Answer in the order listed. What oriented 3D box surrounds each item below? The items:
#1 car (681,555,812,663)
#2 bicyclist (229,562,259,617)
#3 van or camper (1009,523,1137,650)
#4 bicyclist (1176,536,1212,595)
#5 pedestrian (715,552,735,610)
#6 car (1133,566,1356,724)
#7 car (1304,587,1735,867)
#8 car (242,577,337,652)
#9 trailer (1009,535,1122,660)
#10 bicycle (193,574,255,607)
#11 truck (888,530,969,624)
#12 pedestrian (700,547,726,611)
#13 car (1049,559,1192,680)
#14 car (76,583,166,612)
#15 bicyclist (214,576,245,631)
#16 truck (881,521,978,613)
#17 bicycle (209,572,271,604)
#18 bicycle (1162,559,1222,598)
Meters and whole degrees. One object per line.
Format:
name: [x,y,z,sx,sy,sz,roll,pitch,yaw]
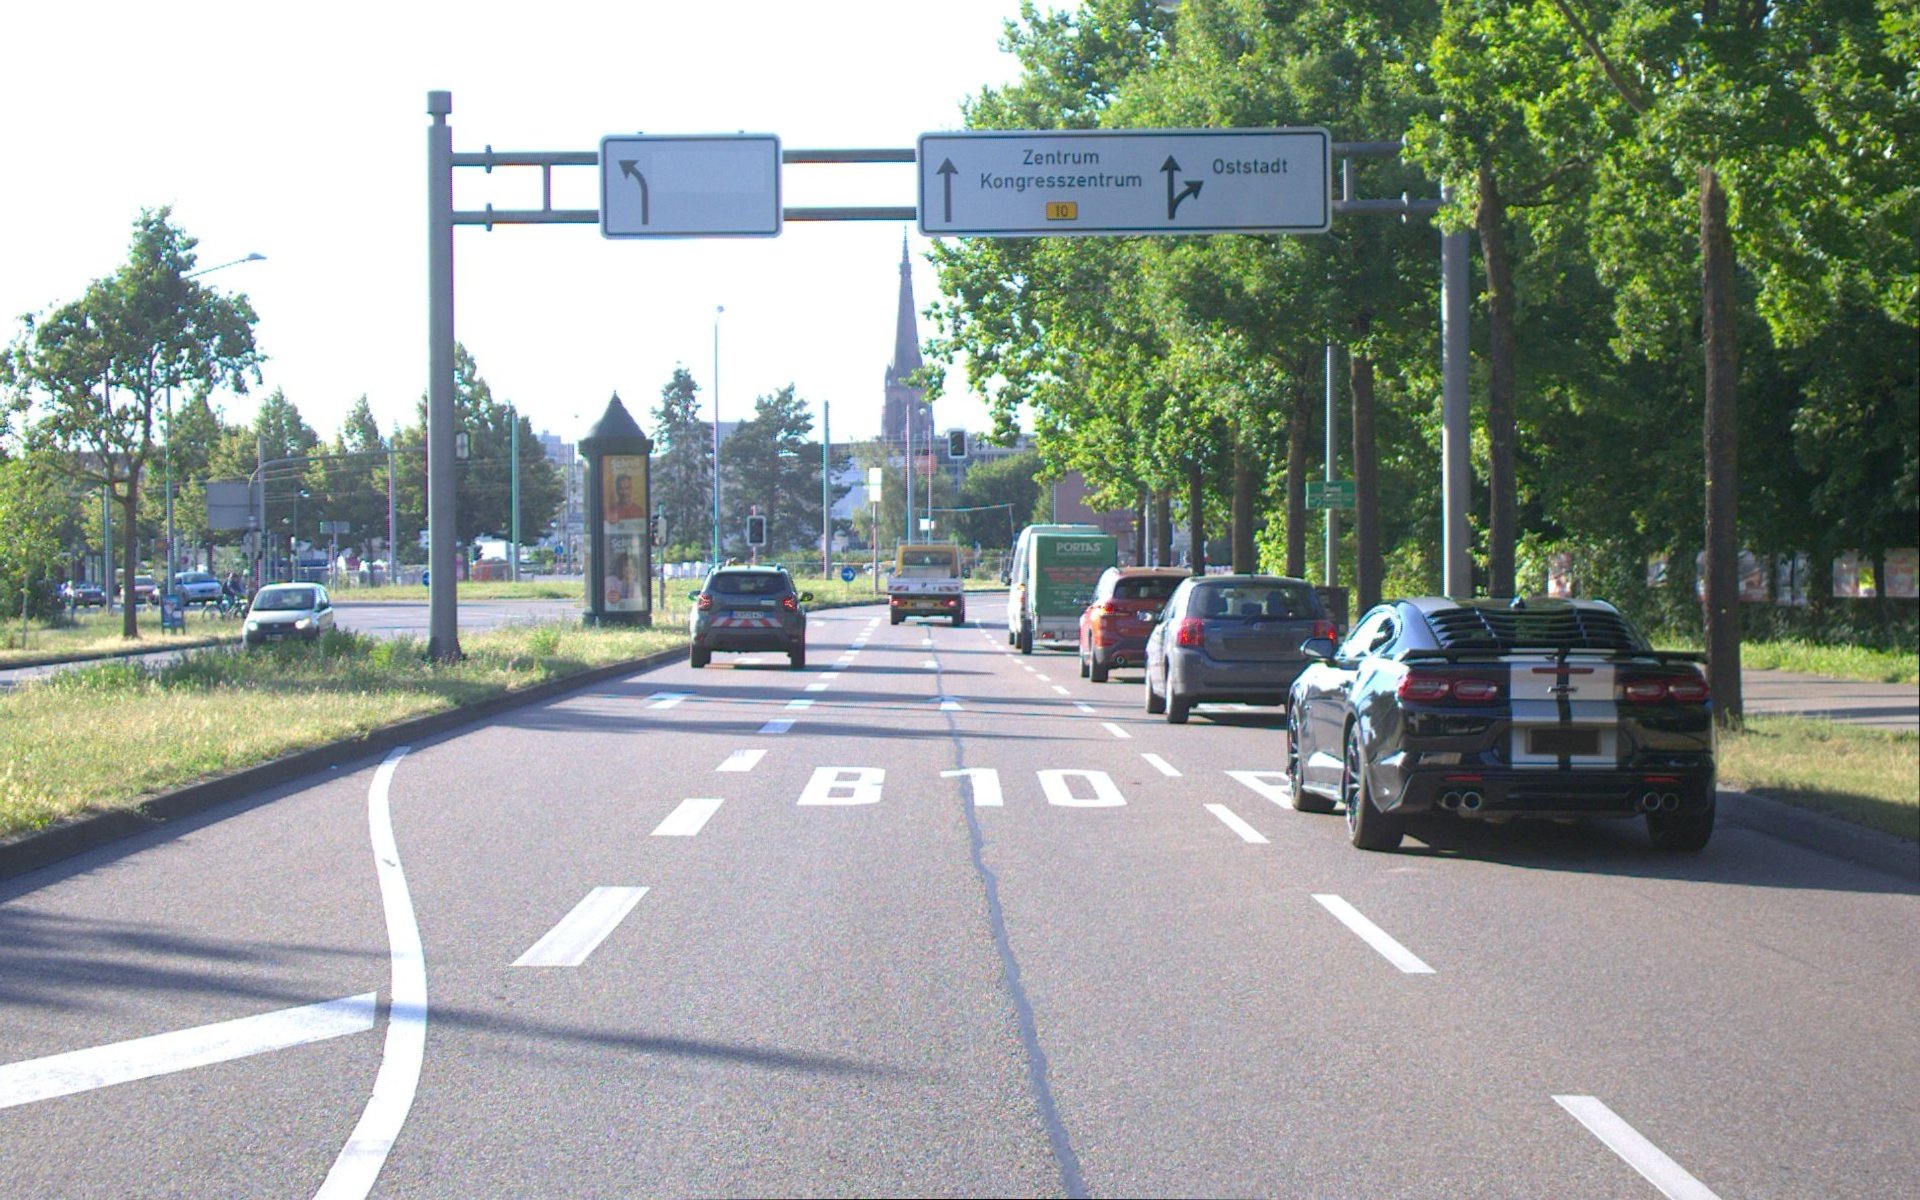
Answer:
car: [-3.478,0.120,55.461,1.905,1.654,4.001,-1,0,-6]
bicyclist: [-23.327,-0.334,112.065,0.813,1.783,0.496,1,1,8]
van or camper: [2.407,-0.342,74.860,2.284,2.620,6.584,1,1,-2]
bicyclist: [7.669,-1.131,112.741,0.938,1.892,0.600,-2,0,36]
pedestrian: [-7.420,-0.597,108.726,0.486,1.837,0.719,-1,0,7]
car: [2.829,0.410,34.906,1.747,1.468,3.820,-1,1,-3]
car: [3.008,0.621,19.396,1.854,1.333,4.625,0,1,2]
car: [-14.463,0.299,74.306,1.562,1.569,3.413,-1,0,-3]
trailer: [2.085,-0.075,68.878,2.090,2.392,3.501,1,1,0]
bicycle: [-23.770,-0.309,111.039,1.910,1.016,0.504,1,0,15]
truck: [-0.937,-0.689,99.165,2.219,2.642,4.774,0,1,-2]
pedestrian: [-7.838,-0.676,108.947,0.789,2.007,0.701,0,1,-6]
car: [2.234,0.246,48.672,1.747,1.615,3.820,1,1,-1]
car: [-43.481,-0.151,178.175,4.137,1.371,1.672,-1,1,10]
bicyclist: [-23.579,0.118,110.988,0.813,1.764,0.496,1,1,15]
truck: [-0.919,-0.976,99.661,2.580,2.549,6.252,-1,1,-2]
bicycle: [-23.464,-0.394,112.074,1.909,1.016,0.504,1,0,7]
bicycle: [7.600,-0.705,112.793,1.908,1.240,0.608,-2,0,36]
